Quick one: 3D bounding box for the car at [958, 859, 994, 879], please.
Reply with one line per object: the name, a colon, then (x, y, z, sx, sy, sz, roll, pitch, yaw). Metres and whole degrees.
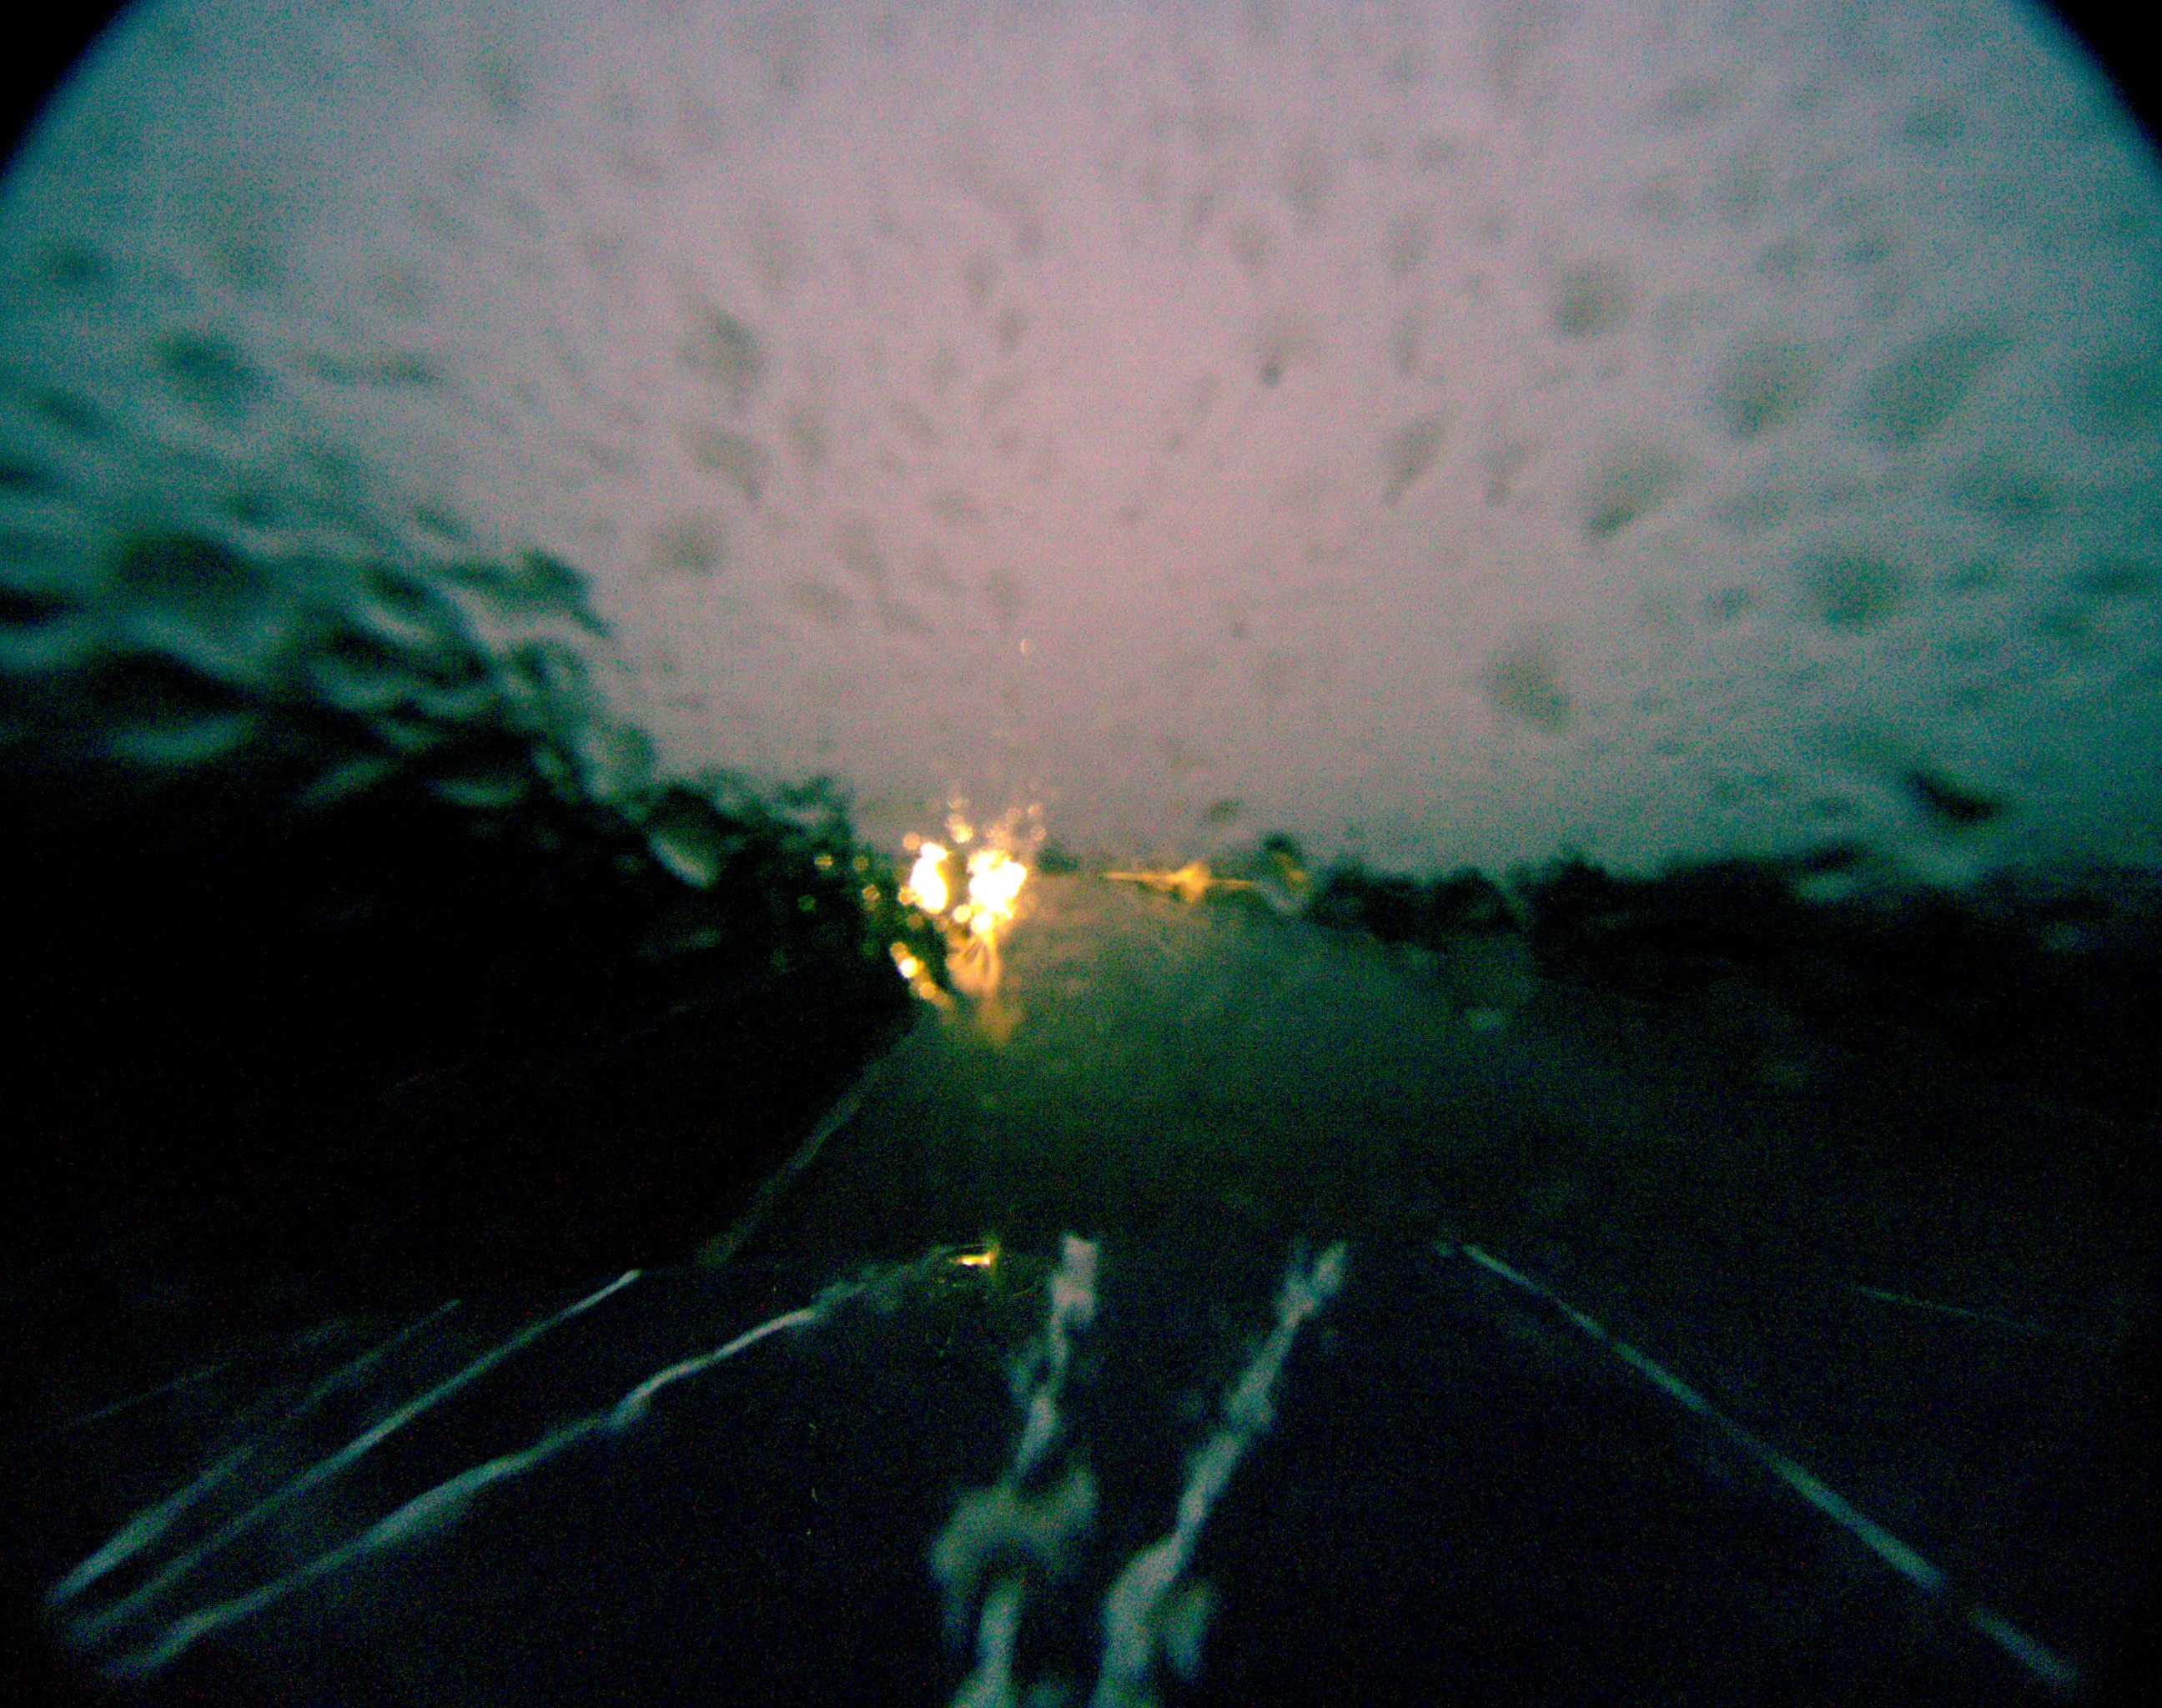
car: (-8.725, 1.254, 62.960, 2.105, 1.565, 4.793, 1, -2, -18)

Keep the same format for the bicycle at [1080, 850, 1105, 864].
bicycle: (1.801, 0.440, 116.391, 2.003, 2.002, 3.991, -1, 0, -31)
